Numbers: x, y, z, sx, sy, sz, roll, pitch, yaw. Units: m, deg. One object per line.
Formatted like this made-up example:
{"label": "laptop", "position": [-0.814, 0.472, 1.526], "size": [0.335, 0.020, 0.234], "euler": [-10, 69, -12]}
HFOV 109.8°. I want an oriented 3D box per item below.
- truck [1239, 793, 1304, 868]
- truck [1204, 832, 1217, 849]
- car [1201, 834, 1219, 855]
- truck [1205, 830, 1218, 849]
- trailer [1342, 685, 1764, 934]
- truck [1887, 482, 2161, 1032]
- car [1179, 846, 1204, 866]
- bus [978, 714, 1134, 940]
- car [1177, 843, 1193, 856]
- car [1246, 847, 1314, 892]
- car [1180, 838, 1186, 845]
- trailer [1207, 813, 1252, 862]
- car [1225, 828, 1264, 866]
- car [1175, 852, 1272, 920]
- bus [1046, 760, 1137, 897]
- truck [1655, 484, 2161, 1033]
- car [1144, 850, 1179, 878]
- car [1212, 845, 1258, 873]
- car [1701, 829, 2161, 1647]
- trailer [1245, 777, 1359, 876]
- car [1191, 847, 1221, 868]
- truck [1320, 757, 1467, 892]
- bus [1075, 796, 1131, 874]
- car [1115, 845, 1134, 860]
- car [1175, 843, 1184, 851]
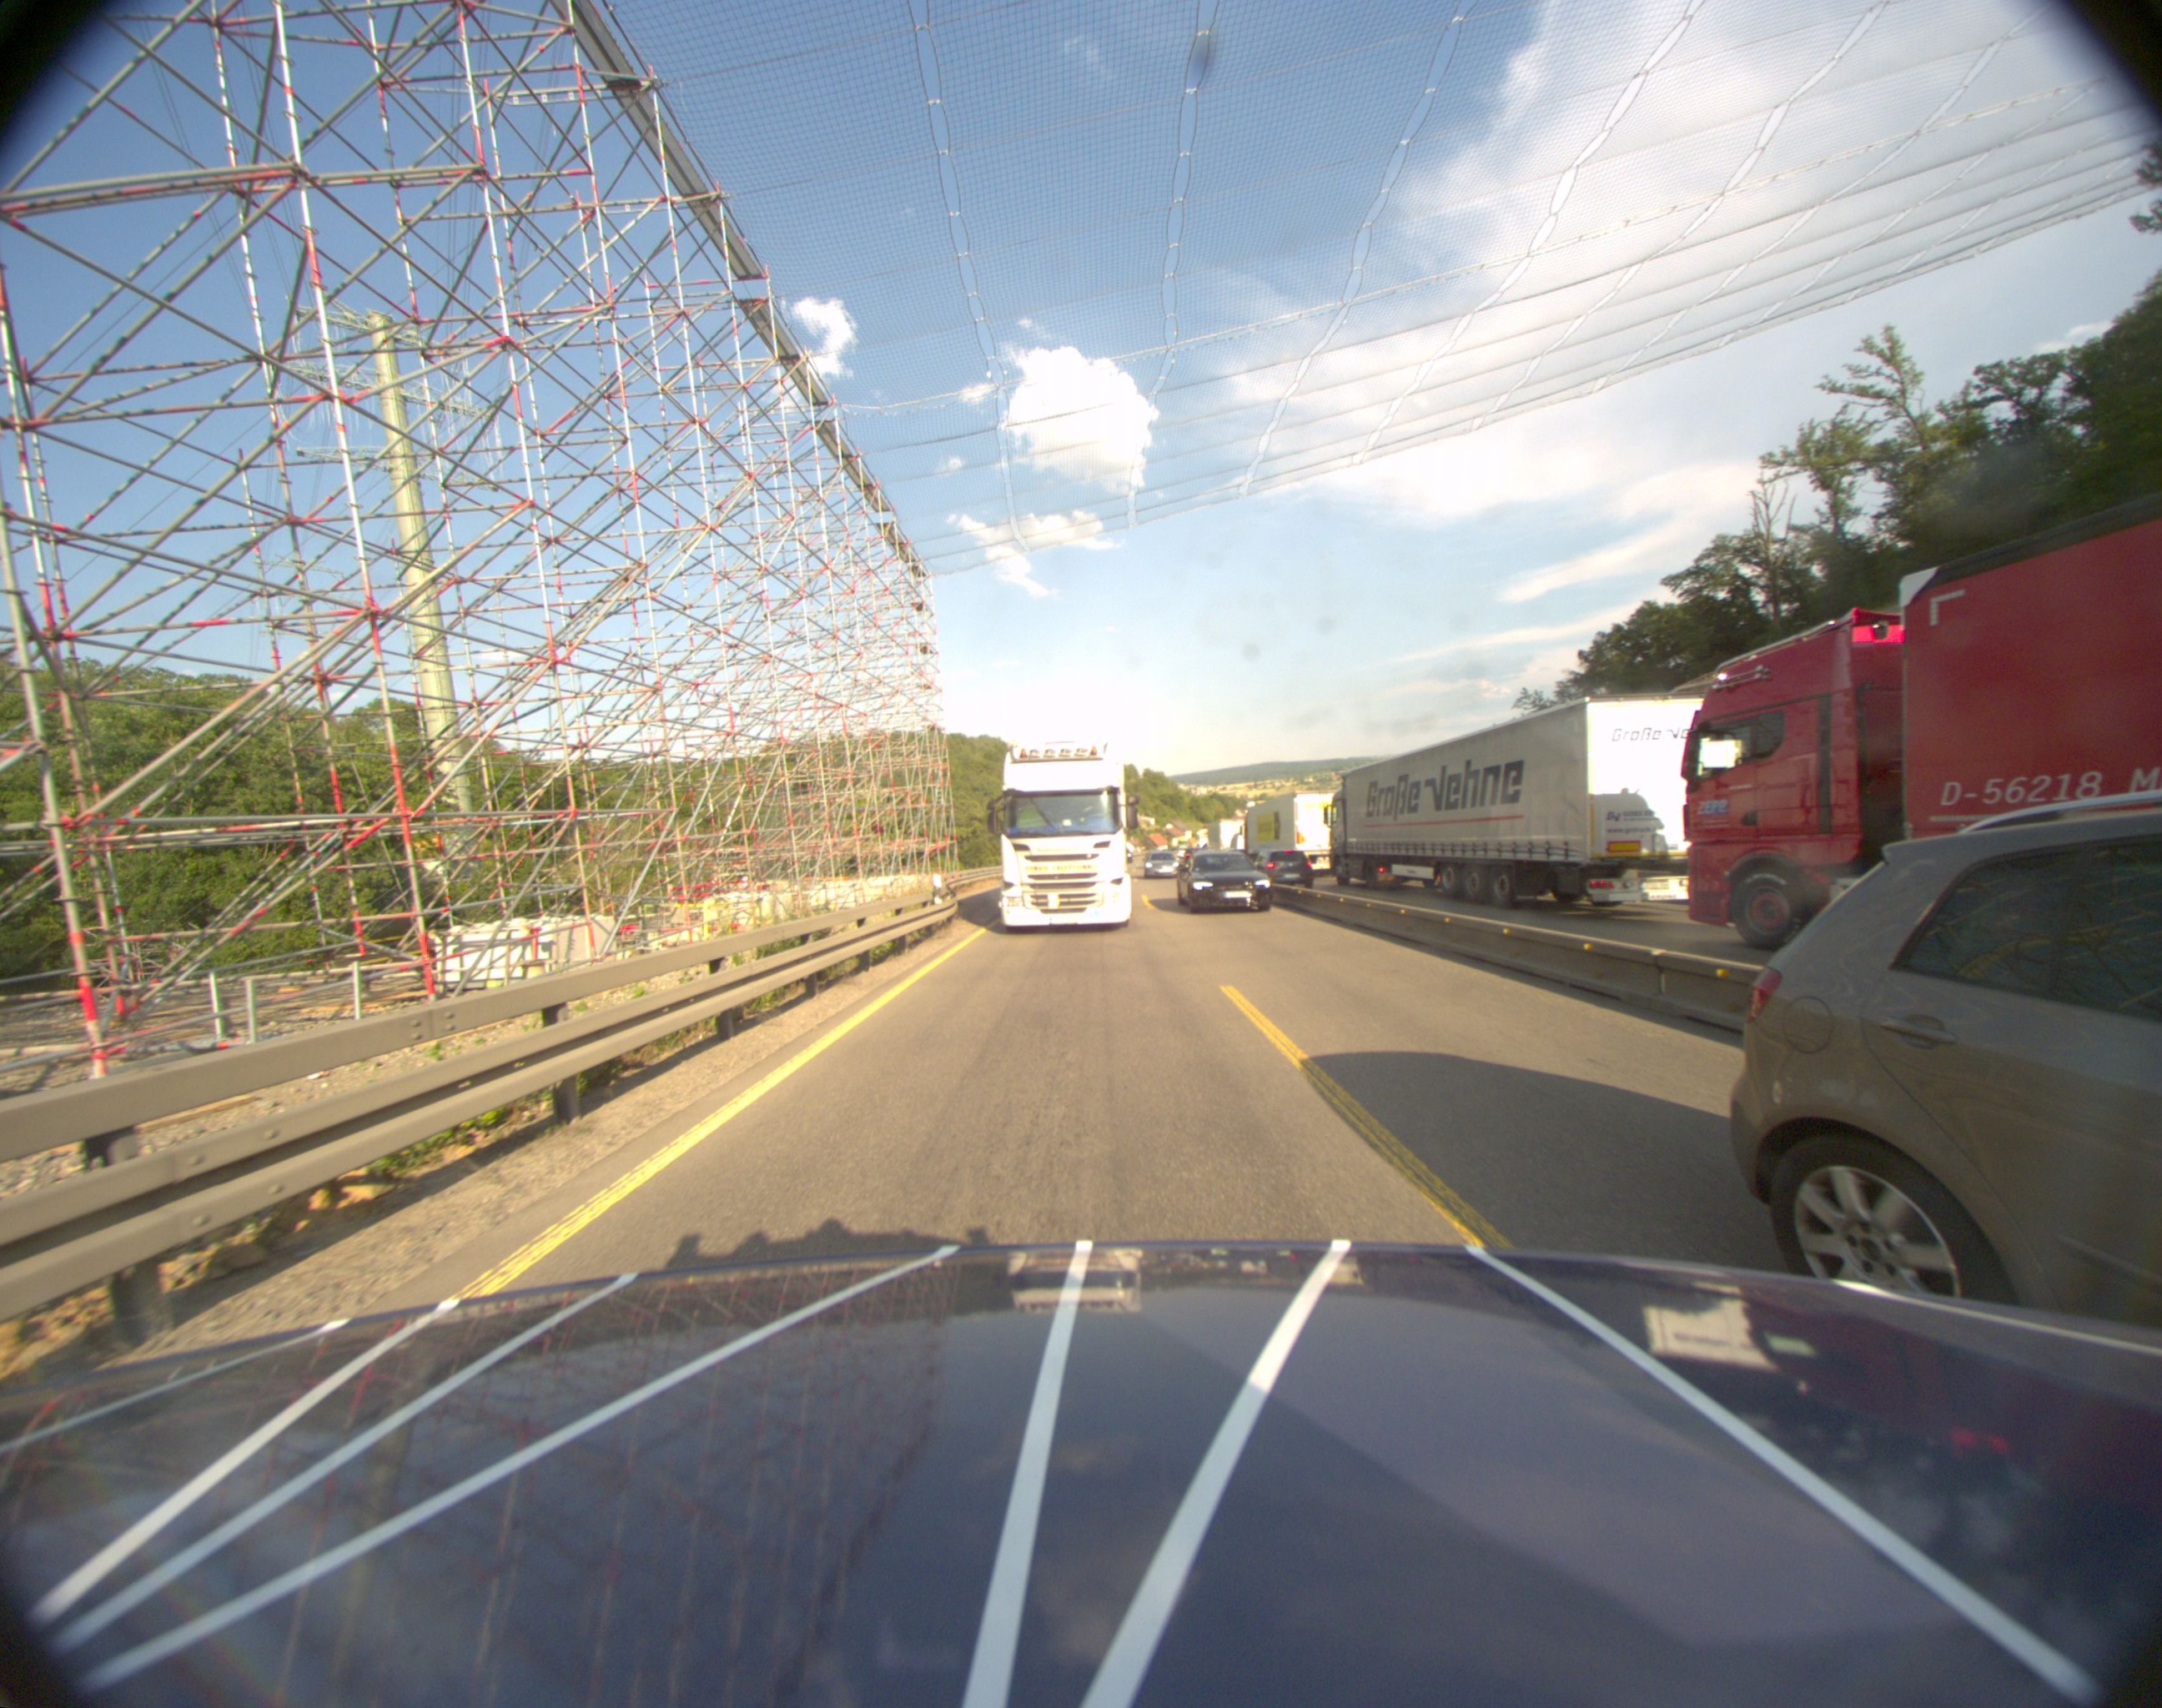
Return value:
{"label": "truck", "position": [11.690, -1.438, 47.146], "size": [2.751, 4.275, 5.934], "euler": [-2, 1, 3]}
{"label": "truck", "position": [27.710, -2.887, 162.741], "size": [2.451, 3.443, 7.623], "euler": [0, 1, 12]}
{"label": "car", "position": [18.680, -1.416, 110.279], "size": [2.338, 2.901, 7.636], "euler": [-1, 1, 9]}
{"label": "truck", "position": [30.330, -3.367, 176.712], "size": [2.712, 4.065, 14.162], "euler": [-1, 1, 11]}
{"label": "trailer", "position": [10.367, -0.856, 19.809], "size": [2.805, 4.117, 13.966], "euler": [-2, 1, 2]}
{"label": "truck", "position": [9.580, -0.679, 0.751], "size": [2.794, 4.117, 13.804], "euler": [-2, 1, -1]}
{"label": "car", "position": [9.563, 0.164, 65.942], "size": [1.756, 1.648, 4.863], "euler": [-1, 1, 4]}
{"label": "bus", "position": [-0.064, -0.607, 19.532], "size": [2.634, 4.077, 11.315], "euler": [-1, 1, 5]}
{"label": "car", "position": [13.708, -0.666, 100.193], "size": [1.873, 1.579, 4.805], "euler": [-3, 1, 7]}
{"label": "car", "position": [7.293, 0.503, 28.227], "size": [1.654, 1.455, 4.401], "euler": [-3, 1, 5]}
{"label": "car", "position": [28.606, -3.413, 213.030], "size": [1.820, 1.988, 4.758], "euler": [0, 0, 8]}
{"label": "trailer", "position": [14.115, -1.551, 73.116], "size": [2.727, 4.194, 13.751], "euler": [-2, 1, 5]}
{"label": "car", "position": [12.782, -0.503, 59.802], "size": [2.026, 2.674, 6.952], "euler": [-3, 0, 5]}
{"label": "car", "position": [3.409, 0.706, 18.886], "size": [1.866, 1.391, 4.000], "euler": [-1, 1, 3]}
{"label": "bus", "position": [0.614, -0.890, 30.692], "size": [2.984, 4.553, 9.968], "euler": [-1, 1, 3]}
{"label": "truck", "position": [9.491, -0.768, 7.322], "size": [2.794, 4.118, 6.677], "euler": [-2, 1, -1]}
{"label": "car", "position": [4.246, 0.502, 40.672], "size": [1.698, 1.390, 4.001], "euler": [-3, 0, 5]}
{"label": "car", "position": [8.621, 0.259, 42.923], "size": [1.736, 1.430, 4.838], "euler": [-3, 0, 2]}
{"label": "car", "position": [2.919, 0.756, 0.505], "size": [1.688, 1.565, 4.099], "euler": [-2, 1, 1]}
{"label": "trailer", "position": [11.327, -1.317, 40.713], "size": [2.772, 4.309, 13.881], "euler": [-2, 1, 3]}
{"label": "car", "position": [9.153, 0.199, 55.916], "size": [1.735, 1.369, 4.892], "euler": [-3, 1, 5]}
{"label": "truck", "position": [10.627, -0.956, 26.512], "size": [2.794, 4.118, 5.933], "euler": [-2, 1, 2]}
{"label": "bus", "position": [1.699, -1.173, 50.856], "size": [2.984, 4.553, 10.906], "euler": [-1, 1, 5]}
{"label": "car", "position": [4.882, -0.209, 86.166], "size": [1.998, 1.630, 4.000], "euler": [-2, 1, 2]}
{"label": "car", "position": [20.117, -1.502, 154.738], "size": [1.820, 1.570, 4.758], "euler": [0, 0, 8]}
